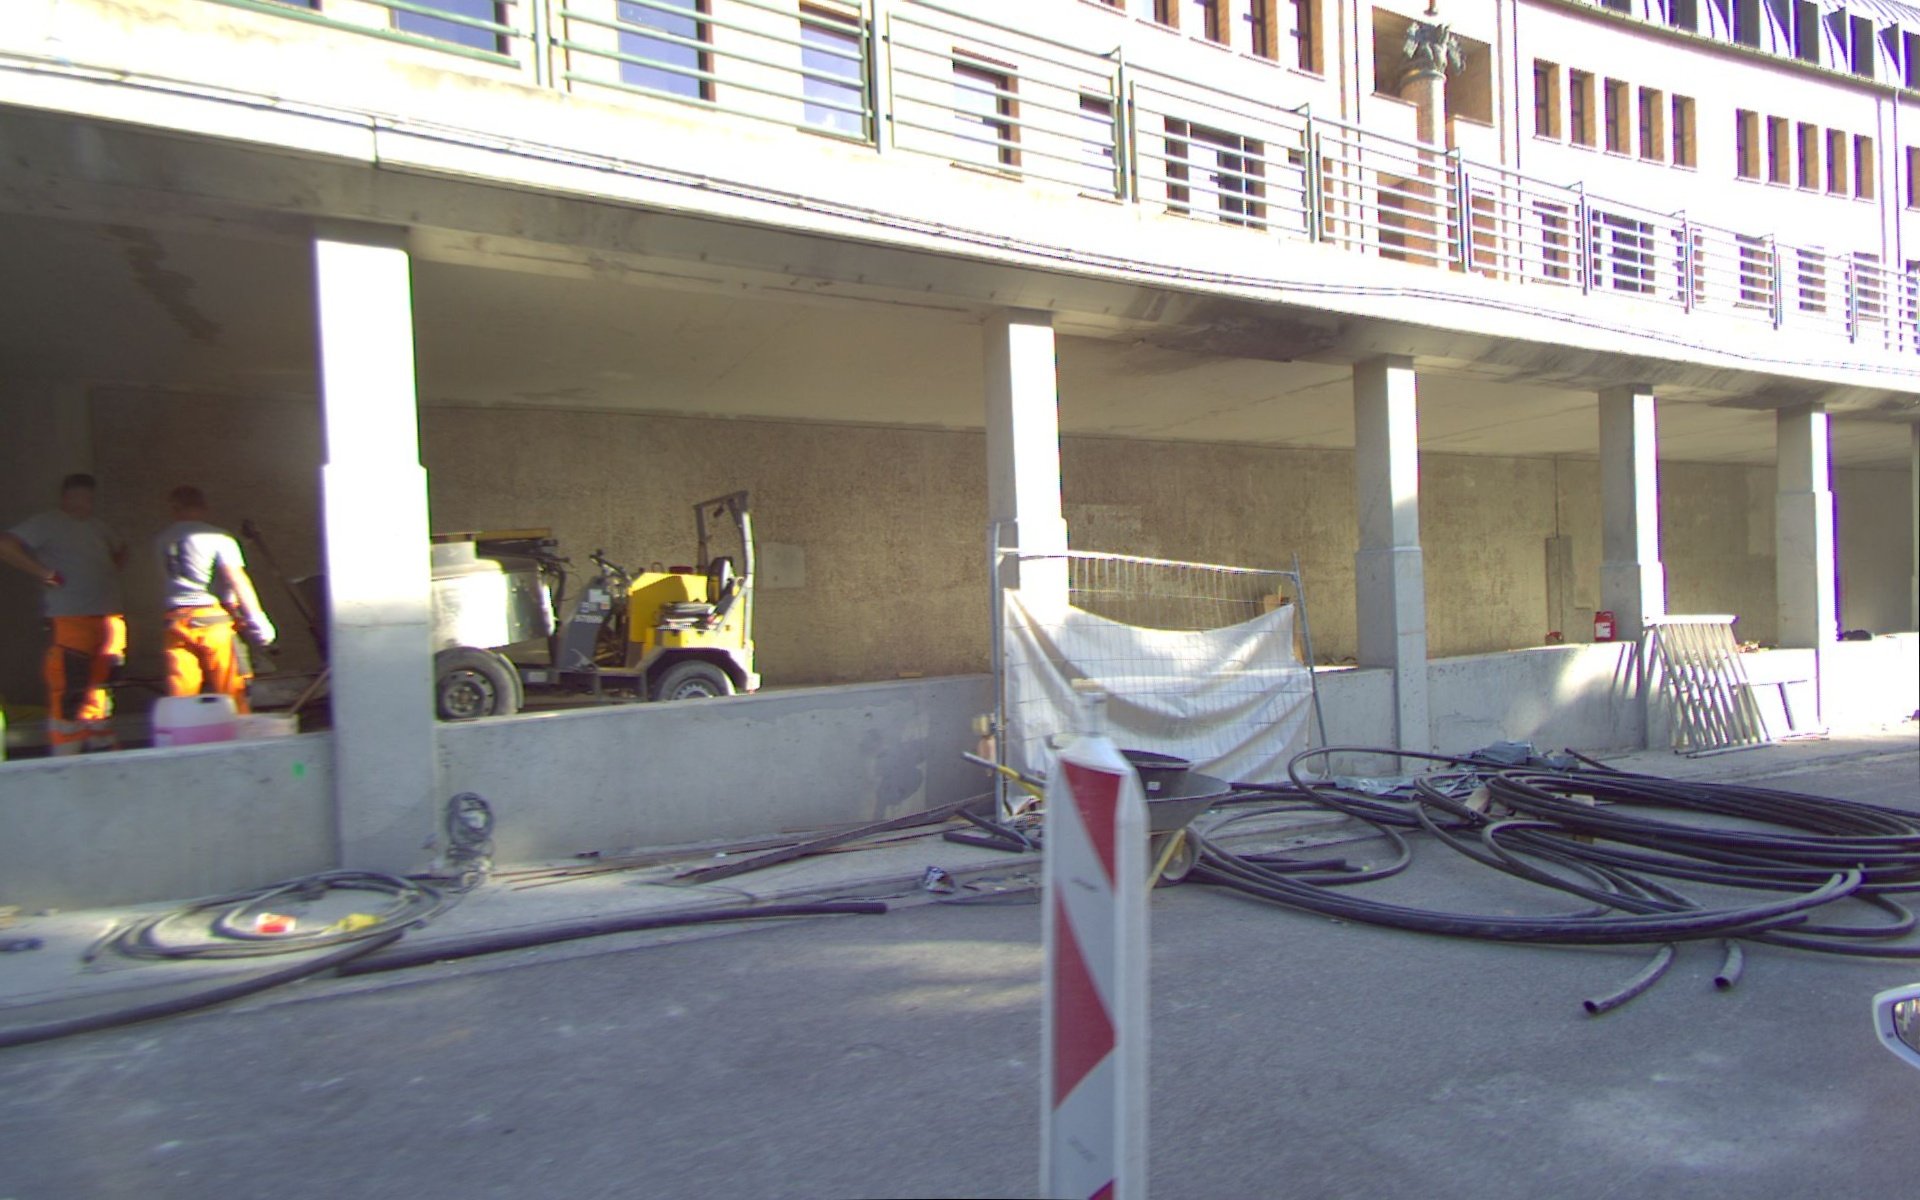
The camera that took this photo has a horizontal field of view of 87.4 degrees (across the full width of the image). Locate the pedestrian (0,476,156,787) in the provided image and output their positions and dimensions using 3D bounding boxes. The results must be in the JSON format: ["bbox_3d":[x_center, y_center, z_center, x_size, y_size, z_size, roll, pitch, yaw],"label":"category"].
[{"bbox_3d":[-5.613,0.186,6.383,0.702,1.838,0.700,1,1,-33],"label":"pedestrian"}]

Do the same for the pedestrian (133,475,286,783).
[{"bbox_3d":[-4.739,0.178,6.384,0.615,1.829,0.655,1,0,-23],"label":"pedestrian"}]

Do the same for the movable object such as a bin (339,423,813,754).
[{"bbox_3d":[-2.957,-0.060,7.767,3.125,2.013,1.874,0,0,-33],"label":"movable object such as a bin"}]

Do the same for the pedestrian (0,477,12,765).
[{"bbox_3d":[-6.945,0.143,6.575,0.926,1.983,0.674,1,0,-31],"label":"pedestrian"}]
